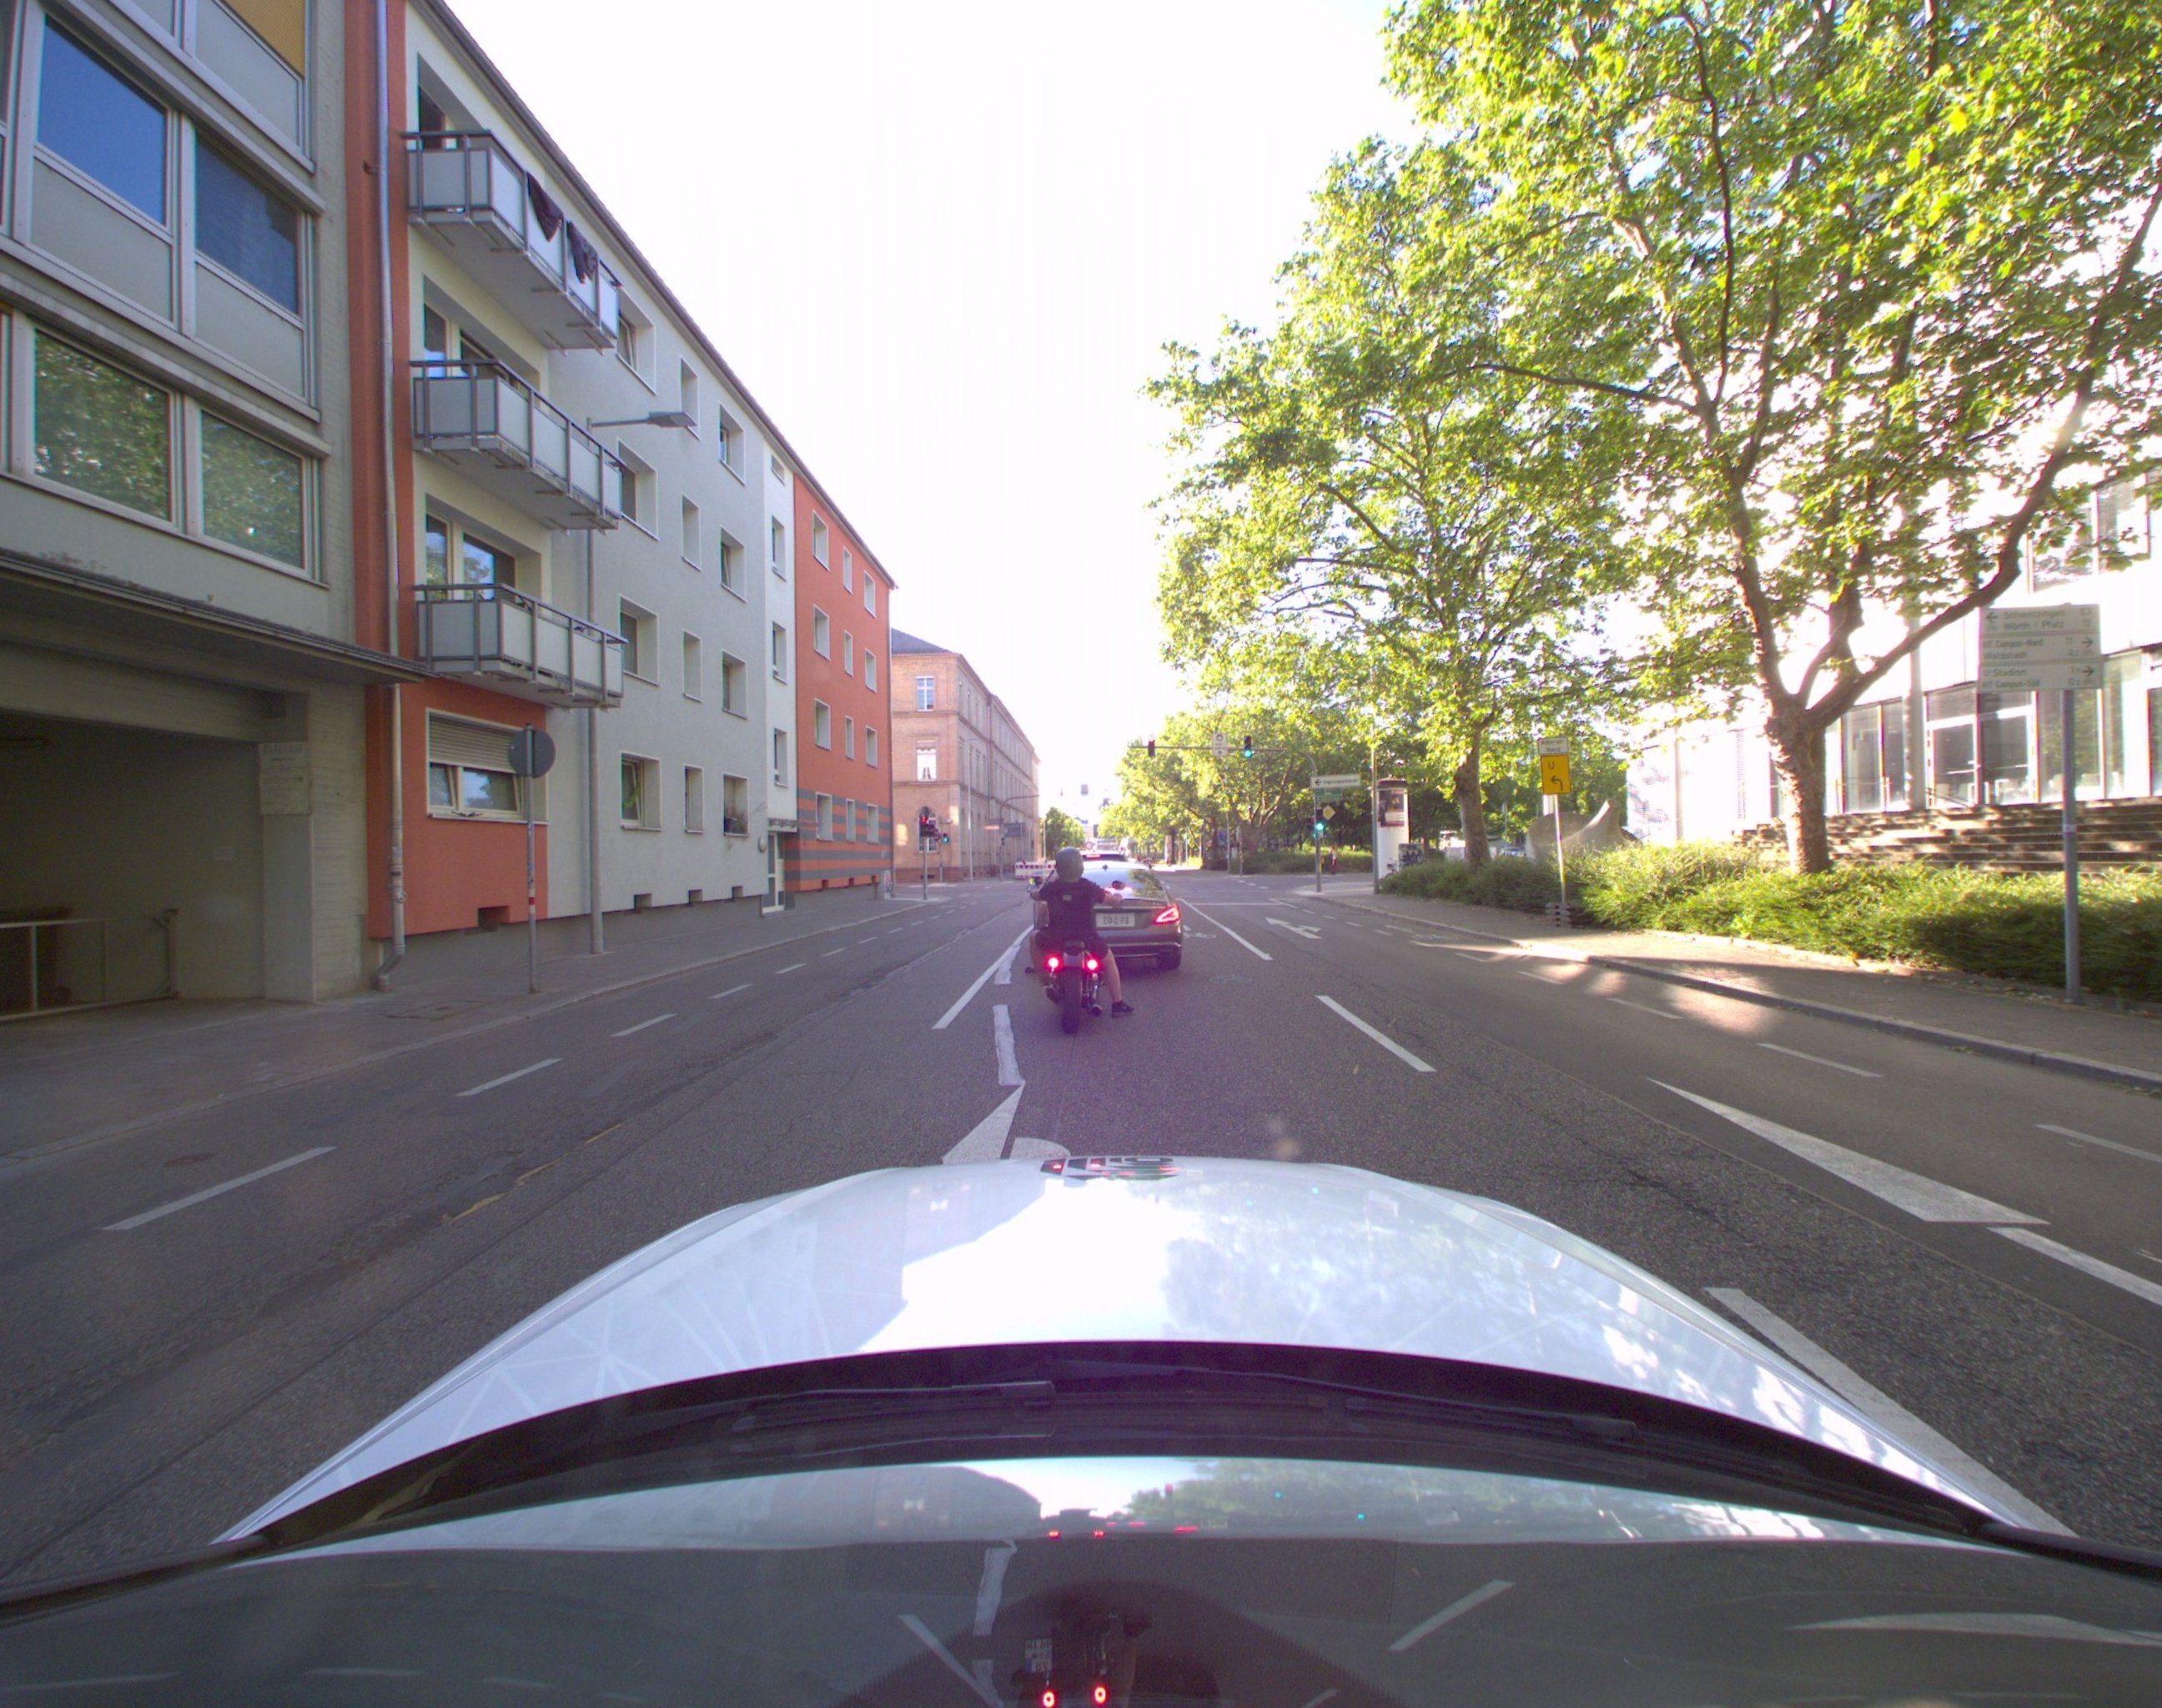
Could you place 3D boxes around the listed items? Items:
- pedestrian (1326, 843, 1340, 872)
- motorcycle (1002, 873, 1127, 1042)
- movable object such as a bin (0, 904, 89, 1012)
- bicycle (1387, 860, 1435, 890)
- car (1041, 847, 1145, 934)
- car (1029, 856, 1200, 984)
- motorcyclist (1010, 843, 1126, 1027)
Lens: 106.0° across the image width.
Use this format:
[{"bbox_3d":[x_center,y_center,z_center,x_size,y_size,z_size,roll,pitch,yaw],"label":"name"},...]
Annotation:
[{"bbox_3d":[15.581,0.223,50.381,0.671,1.772,0.621,-1,-1,31],"label":"pedestrian"},{"bbox_3d":[-0.093,0.857,7.704,0.977,1.275,2.408,-1,0,2],"label":"motorcycle"},{"bbox_3d":[-11.290,1.088,8.661,0.639,1.065,0.675,-1,0,1],"label":"movable object such as a bin"},{"bbox_3d":[11.078,0.712,27.336,1.475,0.980,0.300,0,-1,7],"label":"bicycle"},{"bbox_3d":[0.288,0.724,17.686,1.986,1.665,4.001,0,-1,2],"label":"car"},{"bbox_3d":[0.263,0.772,11.759,1.867,1.444,4.421,-1,0,-6],"label":"car"},{"bbox_3d":[-0.096,0.704,7.691,0.977,1.578,1.249,-1,0,1],"label":"motorcyclist"}]
